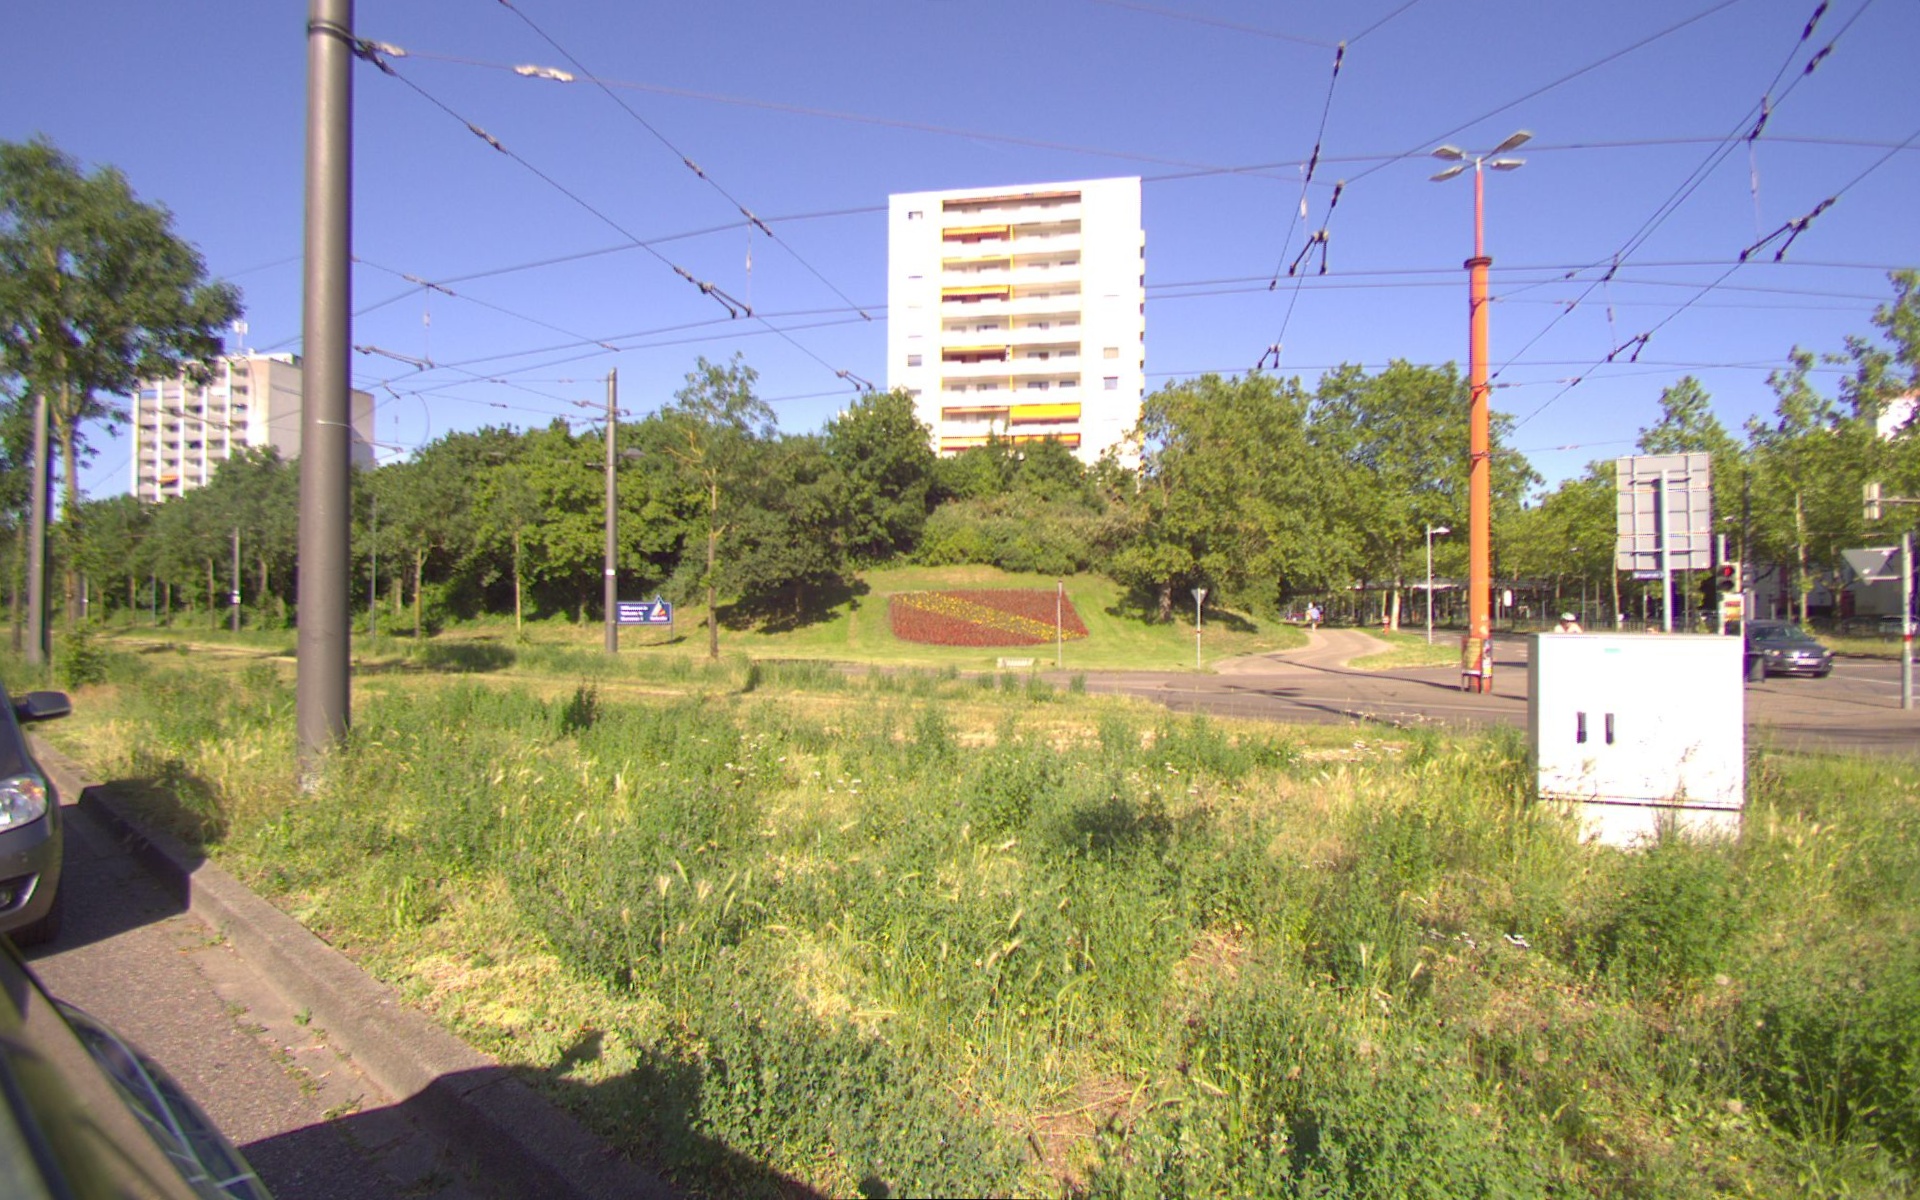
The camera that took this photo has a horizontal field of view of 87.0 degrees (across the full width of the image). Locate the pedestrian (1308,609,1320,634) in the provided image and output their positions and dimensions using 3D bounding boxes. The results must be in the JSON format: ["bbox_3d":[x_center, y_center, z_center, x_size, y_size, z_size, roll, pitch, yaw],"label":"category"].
[{"bbox_3d":[23.124,1.388,66.036,0.682,1.568,0.984,-1,0,23],"label":"pedestrian"}]

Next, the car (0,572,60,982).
[{"bbox_3d":[-5.818,0.753,4.878,3.998,1.652,1.726,-1,0,41],"label":"car"}]

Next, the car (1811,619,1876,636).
[{"bbox_3d":[64.413,1.989,73.833,1.425,1.197,3.423,-1,0,-41],"label":"car"}]

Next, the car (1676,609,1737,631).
[{"bbox_3d":[72.151,1.940,97.859,1.909,1.999,4.350,1,-2,-38],"label":"car"}]

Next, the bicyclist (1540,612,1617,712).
[{"bbox_3d":[12.122,1.192,19.860,0.880,1.881,0.924,-1,0,-2],"label":"bicyclist"}]

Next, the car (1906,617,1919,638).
[{"bbox_3d":[63.694,1.777,65.150,1.472,1.341,3.746,-1,0,-27],"label":"car"}]

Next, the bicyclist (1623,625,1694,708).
[{"bbox_3d":[13.498,1.266,19.574,0.710,1.536,0.924,-1,0,0],"label":"bicyclist"}]

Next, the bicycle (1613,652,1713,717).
[{"bbox_3d":[13.511,1.596,19.525,0.571,1.079,1.916,-1,0,0],"label":"bicycle"}]

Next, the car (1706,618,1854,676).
[{"bbox_3d":[24.356,1.357,30.260,1.900,1.507,4.026,-1,0,15],"label":"car"}]

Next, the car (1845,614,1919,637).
[{"bbox_3d":[63.809,1.744,69.982,1.589,1.471,3.656,-1,0,-38],"label":"car"}]

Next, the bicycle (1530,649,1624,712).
[{"bbox_3d":[12.076,1.548,19.877,0.571,1.079,1.917,-1,0,-3],"label":"bicycle"}]
